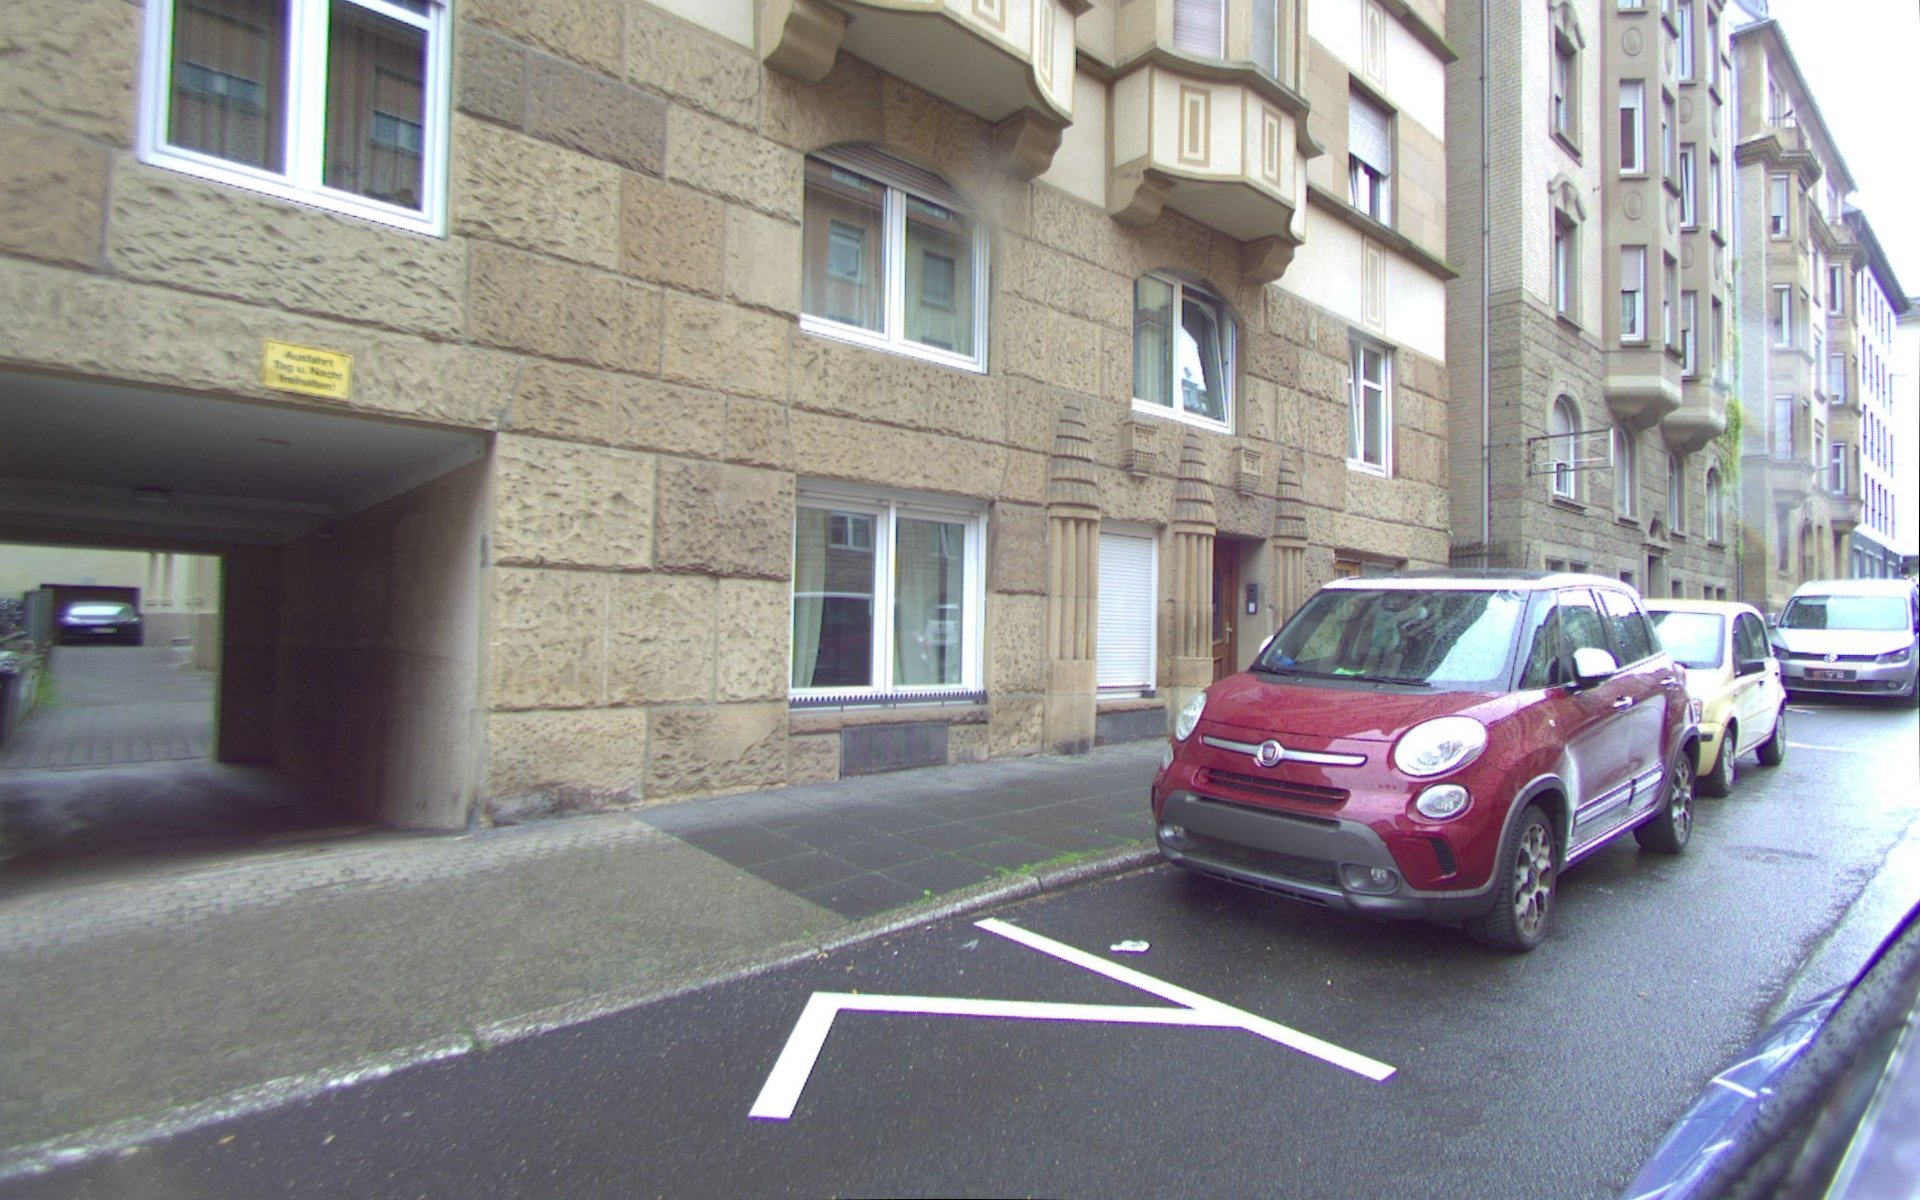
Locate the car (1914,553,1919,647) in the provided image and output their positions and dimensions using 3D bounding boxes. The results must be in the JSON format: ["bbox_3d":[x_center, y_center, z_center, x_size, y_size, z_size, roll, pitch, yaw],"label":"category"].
[{"bbox_3d":[29.192,-0.033,28.892,6.042,2.567,1.991,0,-1,-39],"label":"car"}]

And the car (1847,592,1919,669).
[{"bbox_3d":[20.567,0.607,21.583,3.987,1.544,1.933,0,-1,-41],"label":"car"}]

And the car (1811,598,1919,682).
[{"bbox_3d":[17.192,0.663,18.469,3.912,1.406,1.929,0,-1,-41],"label":"car"}]

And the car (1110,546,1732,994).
[{"bbox_3d":[2.780,0.593,5.656,3.932,1.621,1.772,0,1,-42],"label":"car"}]

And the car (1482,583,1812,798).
[{"bbox_3d":[6.187,0.653,8.986,3.471,1.530,1.630,0,-1,-42],"label":"car"}]

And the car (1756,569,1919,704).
[{"bbox_3d":[13.652,0.473,15.333,3.893,1.791,1.809,0,0,-41],"label":"car"}]

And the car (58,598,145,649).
[{"bbox_3d":[-25.061,0.639,29.507,1.765,1.363,4.008,-1,1,-43],"label":"car"}]
